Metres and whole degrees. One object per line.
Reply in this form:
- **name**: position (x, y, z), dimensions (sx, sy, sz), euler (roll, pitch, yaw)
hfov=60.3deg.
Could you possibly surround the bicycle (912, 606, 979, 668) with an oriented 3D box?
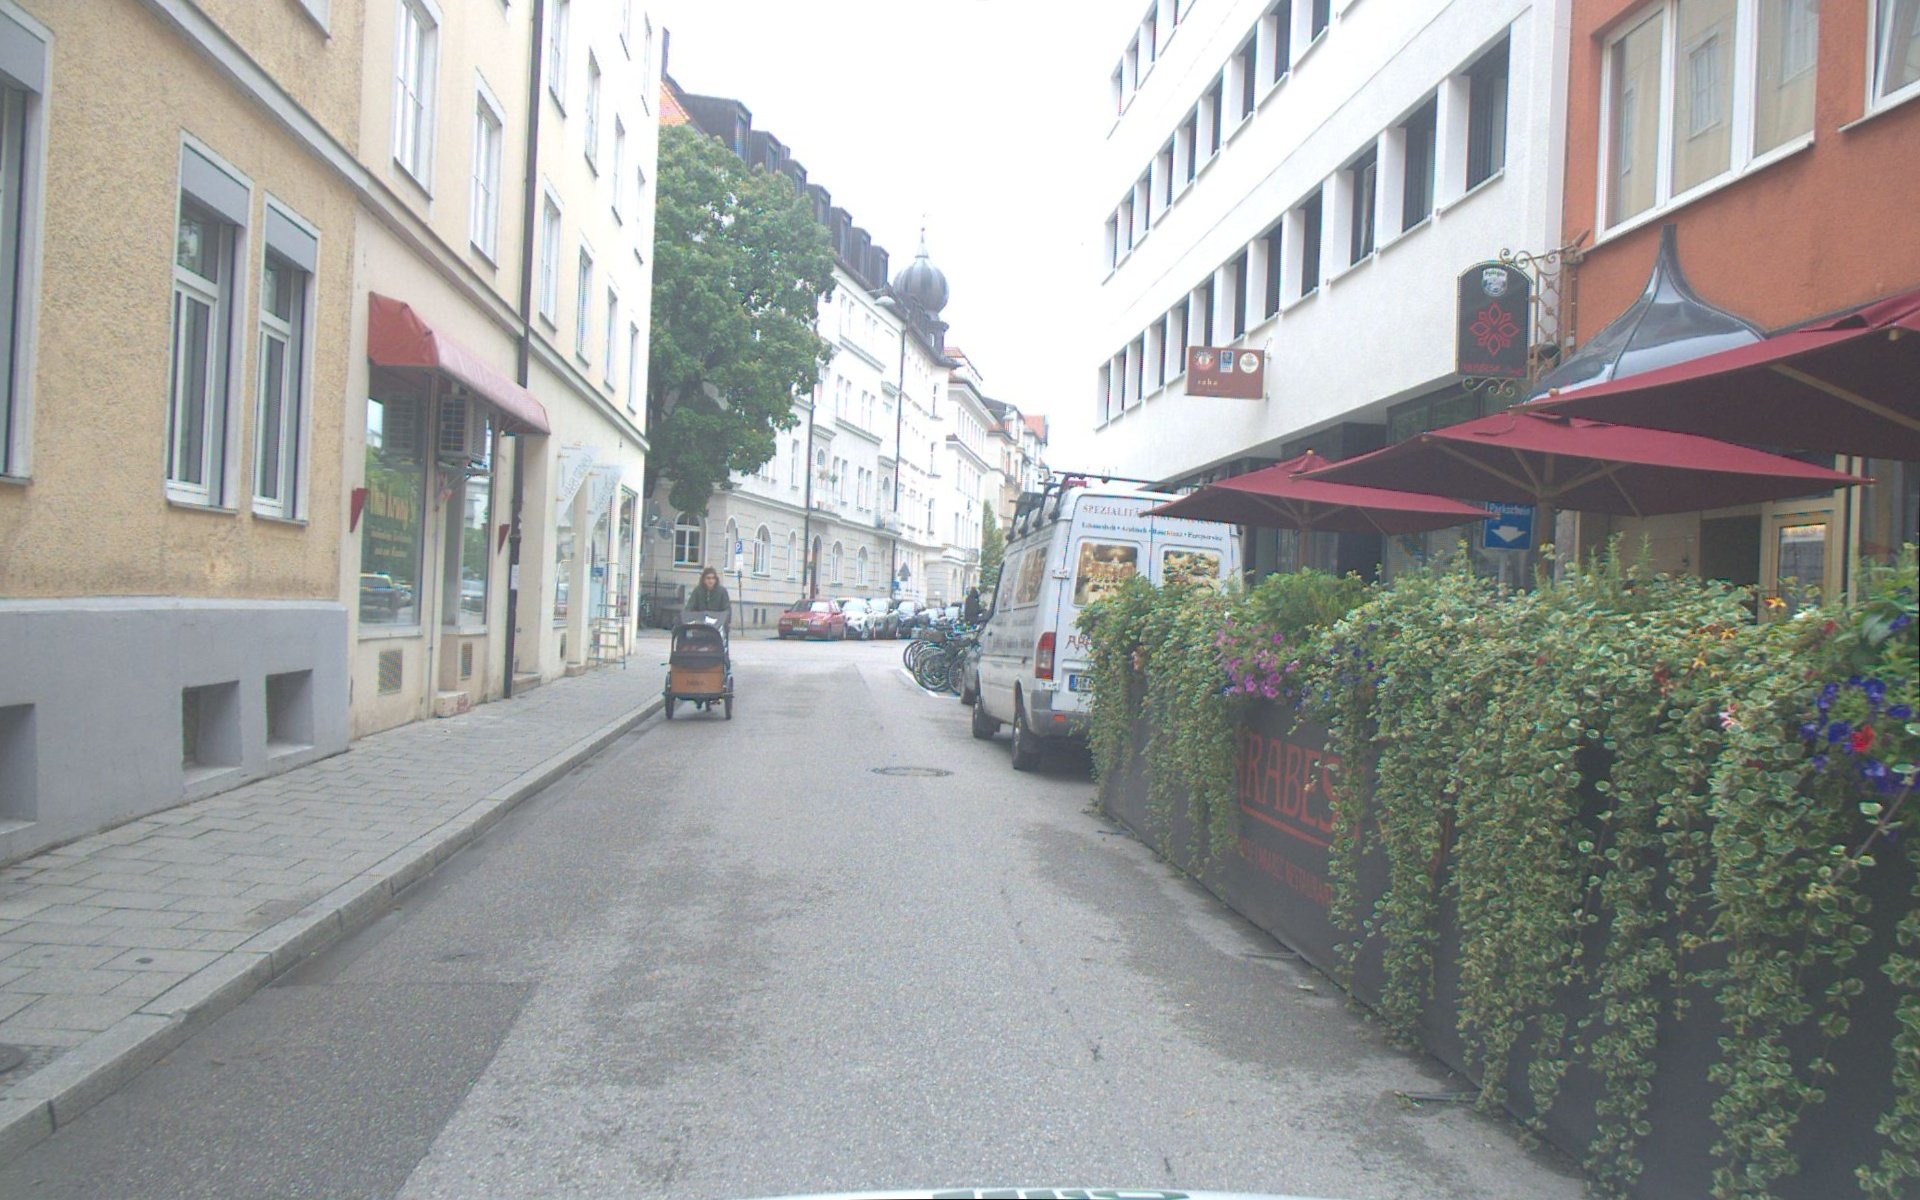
- **bicycle**: position (-0.325, 0.828, 36.796), dimensions (1.428, 1.307, 0.445), euler (3, 0, -4)

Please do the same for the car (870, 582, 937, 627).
- **car**: position (-2.397, 0.211, 71.608), dimensions (1.951, 1.768, 4.525), euler (3, 0, 10)

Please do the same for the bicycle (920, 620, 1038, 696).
- **bicycle**: position (0.313, 0.962, 27.462), dimensions (1.838, 1.098, 0.488), euler (4, 1, -7)

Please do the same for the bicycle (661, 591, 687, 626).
- **bicycle**: position (-9.462, 0.268, 54.757), dimensions (0.483, 1.071, 1.827), euler (2, 2, 0)

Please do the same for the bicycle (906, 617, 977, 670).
- **bicycle**: position (-0.398, 0.940, 35.777), dimensions (1.426, 1.088, 0.462), euler (3, 0, -13)

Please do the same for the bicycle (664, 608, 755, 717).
- **bicycle**: position (-3.118, 0.754, 20.801), dimensions (0.913, 1.279, 2.412), euler (1, -1, -4)

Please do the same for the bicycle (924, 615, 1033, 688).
- **bicycle**: position (0.329, 0.916, 29.606), dimensions (1.838, 1.177, 0.564), euler (4, 1, -7)

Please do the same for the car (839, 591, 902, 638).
- **car**: position (-3.550, 0.578, 66.349), dimensions (1.902, 1.732, 4.002), euler (3, 0, 5)

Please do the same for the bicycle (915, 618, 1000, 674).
- **bicycle**: position (-0.051, 0.964, 34.569), dimensions (1.707, 1.098, 0.451), euler (2, 1, -8)

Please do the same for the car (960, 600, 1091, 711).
- **car**: position (0.915, 0.775, 24.956), dimensions (1.549, 1.489, 3.549), euler (2, 0, -4)

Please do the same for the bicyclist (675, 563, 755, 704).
- **bicyclist**: position (-3.134, 0.417, 21.220), dimensions (0.908, 1.751, 1.098), euler (1, 0, -4)

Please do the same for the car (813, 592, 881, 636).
- **car**: position (-4.160, 0.530, 61.533), dimensions (1.952, 1.499, 4.220), euler (2, 0, 3)

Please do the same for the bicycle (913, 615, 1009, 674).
- **bicycle**: position (0.021, 0.889, 32.892), dimensions (1.839, 1.098, 0.401), euler (2, 1, -9)

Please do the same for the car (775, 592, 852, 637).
- **car**: position (-4.948, 0.488, 56.304), dimensions (1.694, 1.402, 4.229), euler (2, 0, 7)

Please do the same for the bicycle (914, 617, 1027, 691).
- **bicycle**: position (0.182, 0.924, 28.387), dimensions (1.838, 1.127, 0.488), euler (4, 1, -7)

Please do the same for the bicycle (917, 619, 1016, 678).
- **bicycle**: position (0.115, 0.948, 32.201), dimensions (1.839, 1.070, 0.563), euler (2, -2, -9)

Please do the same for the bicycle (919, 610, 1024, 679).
- **bicycle**: position (0.206, 0.811, 30.330), dimensions (1.838, 1.225, 0.579), euler (1, 0, -7)

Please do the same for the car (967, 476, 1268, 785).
- **car**: position (1.370, 0.258, 17.178), dimensions (1.883, 2.549, 5.990), euler (3, 0, -6)

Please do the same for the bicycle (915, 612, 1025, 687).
- **bicycle**: position (0.168, 0.869, 28.908), dimensions (1.838, 1.225, 0.488), euler (2, 1, -7)

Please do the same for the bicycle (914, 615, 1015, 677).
- **bicycle**: position (0.080, 0.874, 31.493), dimensions (1.839, 1.114, 0.439), euler (2, 1, -8)

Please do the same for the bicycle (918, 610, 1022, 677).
- **bicycle**: position (0.176, 0.815, 30.934), dimensions (1.857, 1.190, 0.565), euler (2, 0, -8)

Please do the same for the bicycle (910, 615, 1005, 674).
- **bicycle**: position (-0.051, 0.898, 33.326), dimensions (1.839, 1.098, 0.407), euler (2, 1, -9)
